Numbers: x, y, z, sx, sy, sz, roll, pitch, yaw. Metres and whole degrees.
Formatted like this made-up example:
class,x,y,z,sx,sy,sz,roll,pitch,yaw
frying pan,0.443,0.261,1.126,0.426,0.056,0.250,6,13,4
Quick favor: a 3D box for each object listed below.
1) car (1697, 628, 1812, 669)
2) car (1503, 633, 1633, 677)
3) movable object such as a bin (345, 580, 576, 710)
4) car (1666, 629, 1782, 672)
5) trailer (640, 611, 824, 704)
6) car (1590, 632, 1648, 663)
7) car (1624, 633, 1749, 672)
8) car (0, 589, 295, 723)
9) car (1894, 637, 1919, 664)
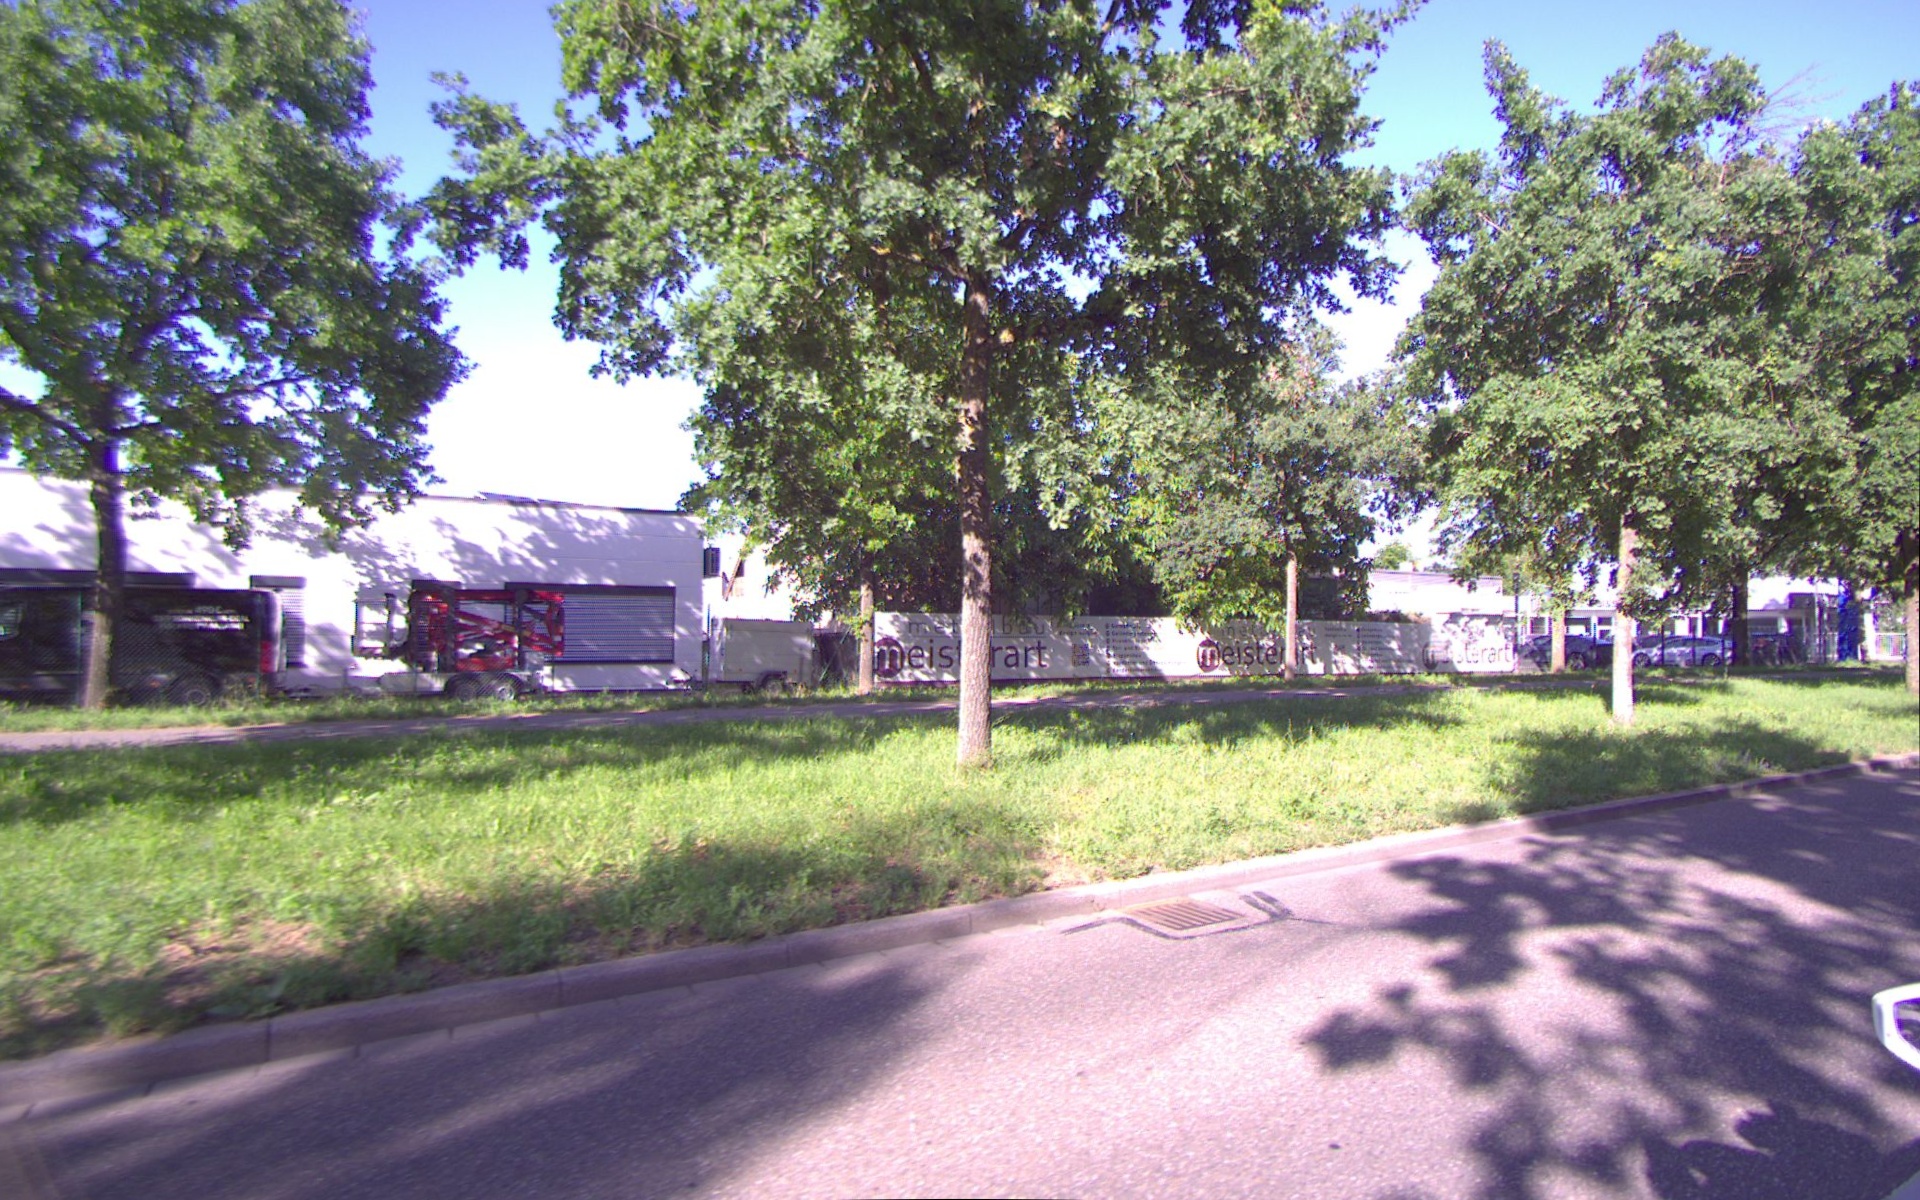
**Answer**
class,x,y,z,sx,sy,sz,roll,pitch,yaw
car,38.763,2.353,49.087,1.976,1.765,3.968,2,0,-30
car,24.688,2.214,40.925,2.173,1.539,3.967,2,0,-30
movable object such as a bin,-10.636,0.921,21.537,4.185,2.549,1.984,2,0,-30
car,36.230,2.360,47.730,1.840,1.769,3.967,2,0,-30
trailer,-5.379,1.304,23.782,3.915,2.040,1.747,1,-1,-29
car,39.565,2.831,60.254,1.972,1.712,5.228,2,0,44
car,33.479,2.402,46.382,1.840,1.539,4.289,2,0,-30
car,-15.406,0.963,18.040,5.605,2.203,1.984,1,-1,-31
car,53.543,2.805,55.461,1.402,1.489,2.567,1,-1,-16
